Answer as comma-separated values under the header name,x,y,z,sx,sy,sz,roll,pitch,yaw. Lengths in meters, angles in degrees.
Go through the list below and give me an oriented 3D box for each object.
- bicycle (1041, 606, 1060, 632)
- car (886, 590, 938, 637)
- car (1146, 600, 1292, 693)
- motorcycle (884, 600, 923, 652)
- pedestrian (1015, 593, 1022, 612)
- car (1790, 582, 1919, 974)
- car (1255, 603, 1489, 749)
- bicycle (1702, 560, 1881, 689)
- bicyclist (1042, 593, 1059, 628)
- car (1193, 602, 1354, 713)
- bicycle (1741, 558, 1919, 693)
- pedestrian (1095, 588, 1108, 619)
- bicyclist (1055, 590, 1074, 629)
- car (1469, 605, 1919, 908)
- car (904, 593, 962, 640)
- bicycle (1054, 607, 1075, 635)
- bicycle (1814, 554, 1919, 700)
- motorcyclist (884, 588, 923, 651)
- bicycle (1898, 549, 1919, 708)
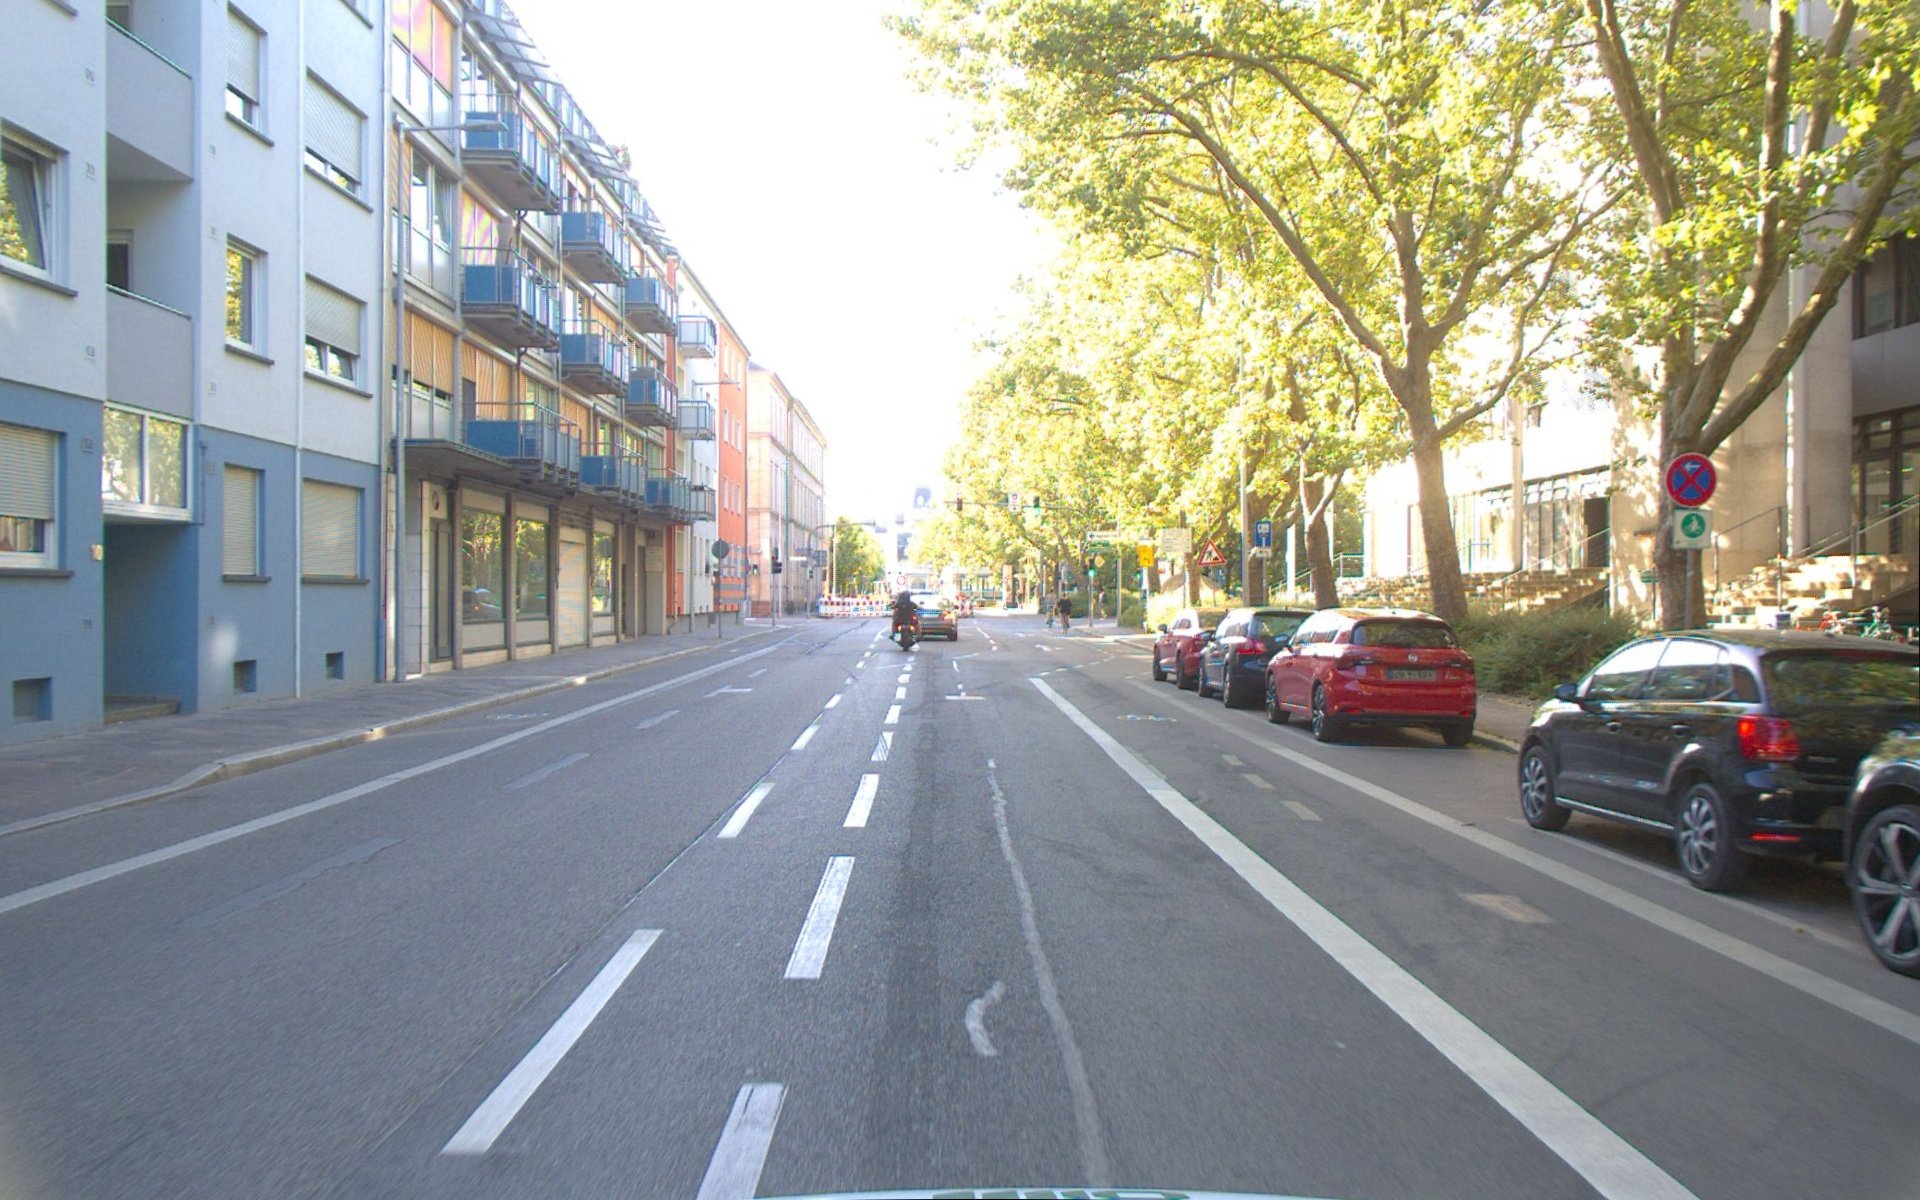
name,x,y,z,sx,sy,sz,roll,pitch,yaw
bicycle,4.154,0.870,75.913,0.643,1.131,2.185,2,0,-2
car,-1.838,0.507,62.496,1.599,1.679,3.845,2,0,-7
car,4.588,0.783,29.872,1.659,1.474,4.433,2,0,-3
motorcycle,-1.478,0.661,43.687,0.992,1.329,2.672,0,0,-2
pedestrian,5.015,0.207,142.078,0.580,1.606,0.527,2,-1,-1
car,5.003,0.793,5.728,1.740,1.656,4.618,2,0,-2
car,4.874,0.828,20.169,1.658,1.505,4.317,2,0,-1
bicycle,13.447,0.394,26.786,2.545,2.049,0.742,0,0,-1
bicyclist,4.161,0.484,75.976,0.643,1.557,0.906,2,-1,-2
car,4.724,0.810,25.459,1.658,1.492,4.065,2,0,0
bicycle,13.540,0.390,25.621,2.545,2.049,0.742,0,0,-1
pedestrian,8.354,0.194,97.685,0.611,1.805,0.572,1,-1,25
bicyclist,4.250,0.382,67.223,0.643,1.557,0.851,2,-1,-2
car,4.860,0.843,10.695,1.659,1.530,4.017,2,0,-3
car,-0.900,0.518,53.951,1.791,1.445,3.813,1,0,-2
bicycle,4.241,0.837,67.157,0.643,1.089,1.926,2,0,-2
bicycle,13.607,0.378,23.542,2.545,2.049,0.742,0,0,-1
motorcyclist,-1.494,0.502,43.898,0.992,1.630,1.405,0,0,-2
bicycle,13.669,0.367,21.519,2.545,2.049,0.742,0,0,-1
